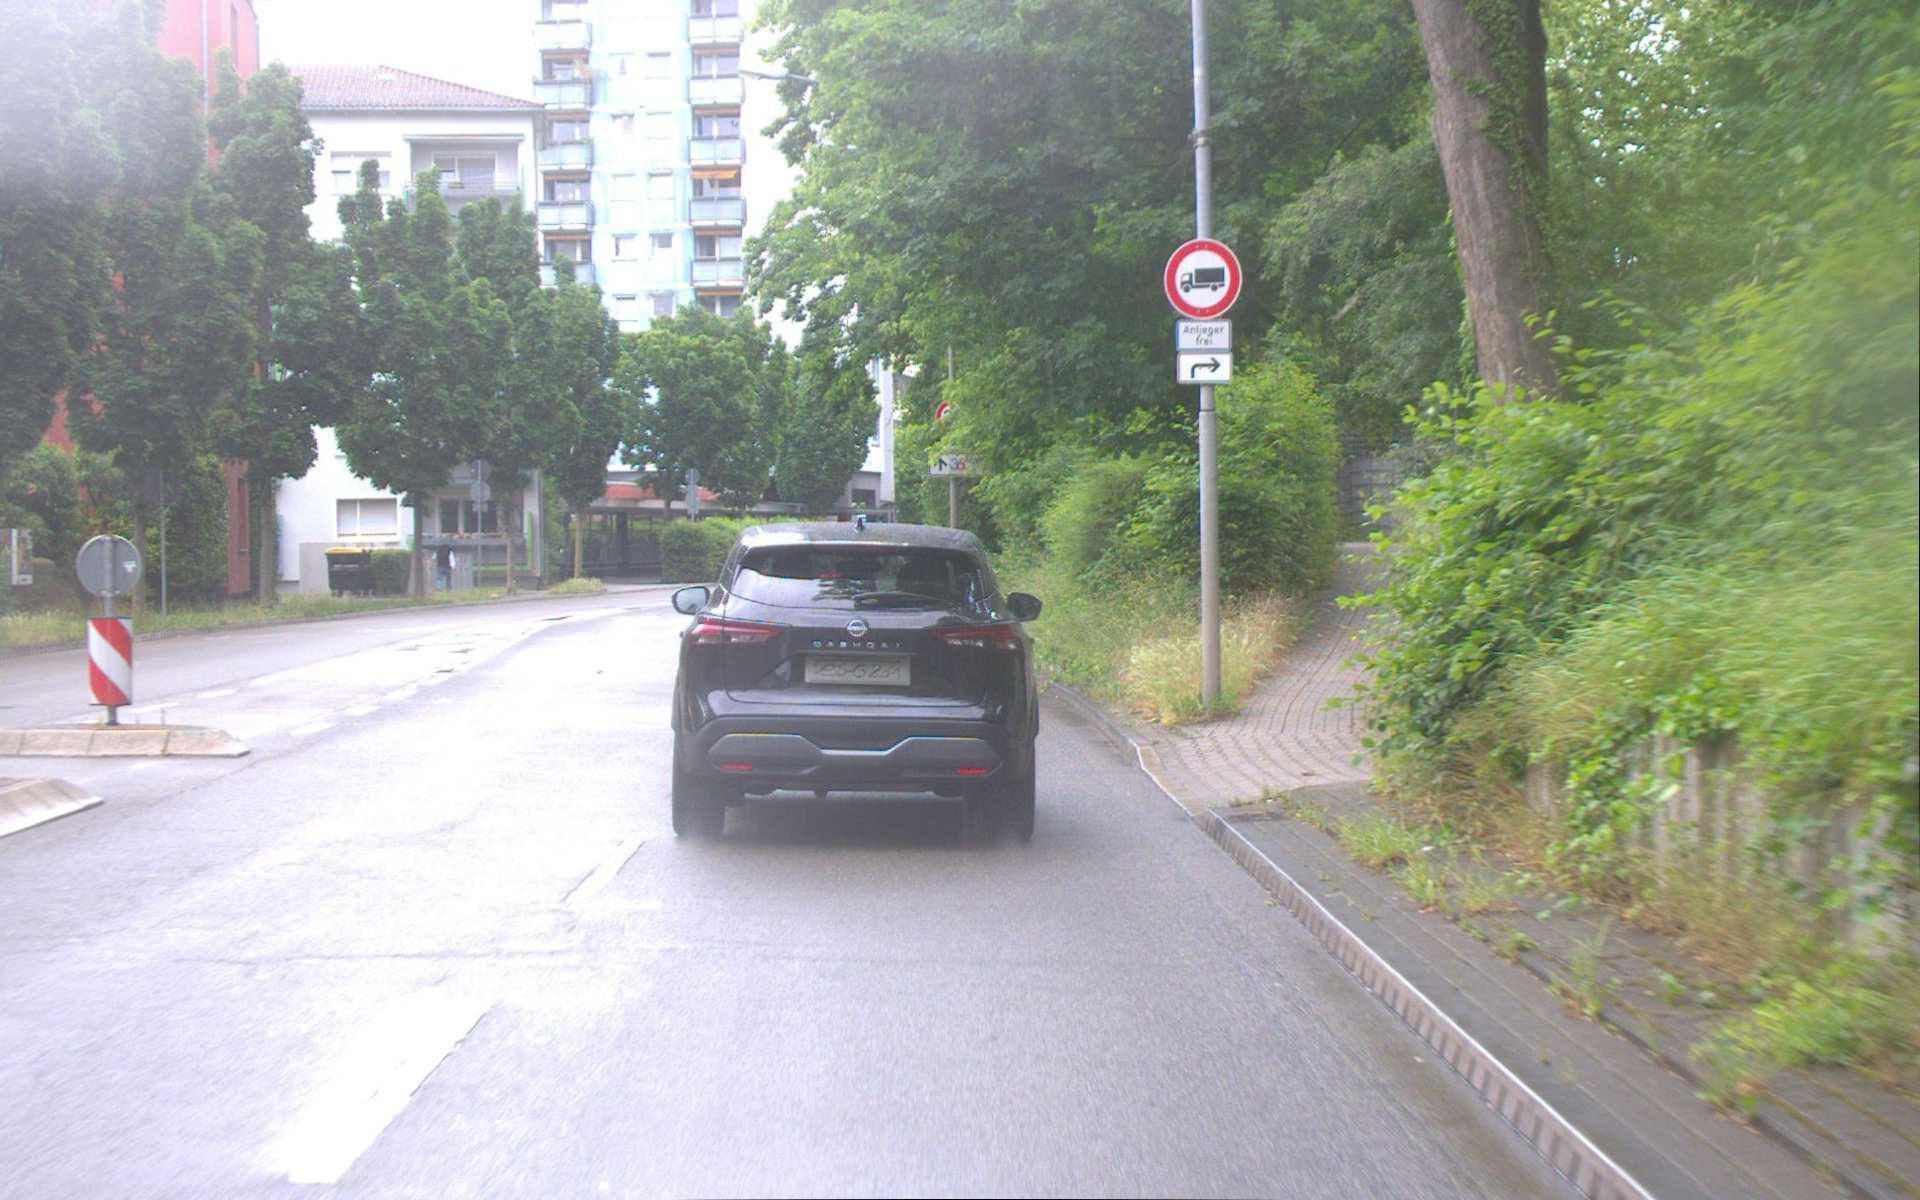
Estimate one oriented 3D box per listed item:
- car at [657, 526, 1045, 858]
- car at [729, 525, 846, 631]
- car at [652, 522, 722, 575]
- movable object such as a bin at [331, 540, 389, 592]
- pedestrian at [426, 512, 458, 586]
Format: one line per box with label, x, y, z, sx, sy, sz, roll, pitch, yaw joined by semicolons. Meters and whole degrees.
car;-0.615;0.405;18.474;1.844;1.577;4.001;1;1;-3
car;-2.867;-0.387;57.754;1.887;1.705;4.000;0;1;-2
car;-9.764;-1.847;123.353;1.799;1.835;3.999;-1;1;6
movable object such as a bin;-16.213;-0.927;92.950;1.321;1.357;1.258;-1;1;0
pedestrian;-14.332;-1.409;95.152;0.716;2.007;0.950;-1;1;-1
